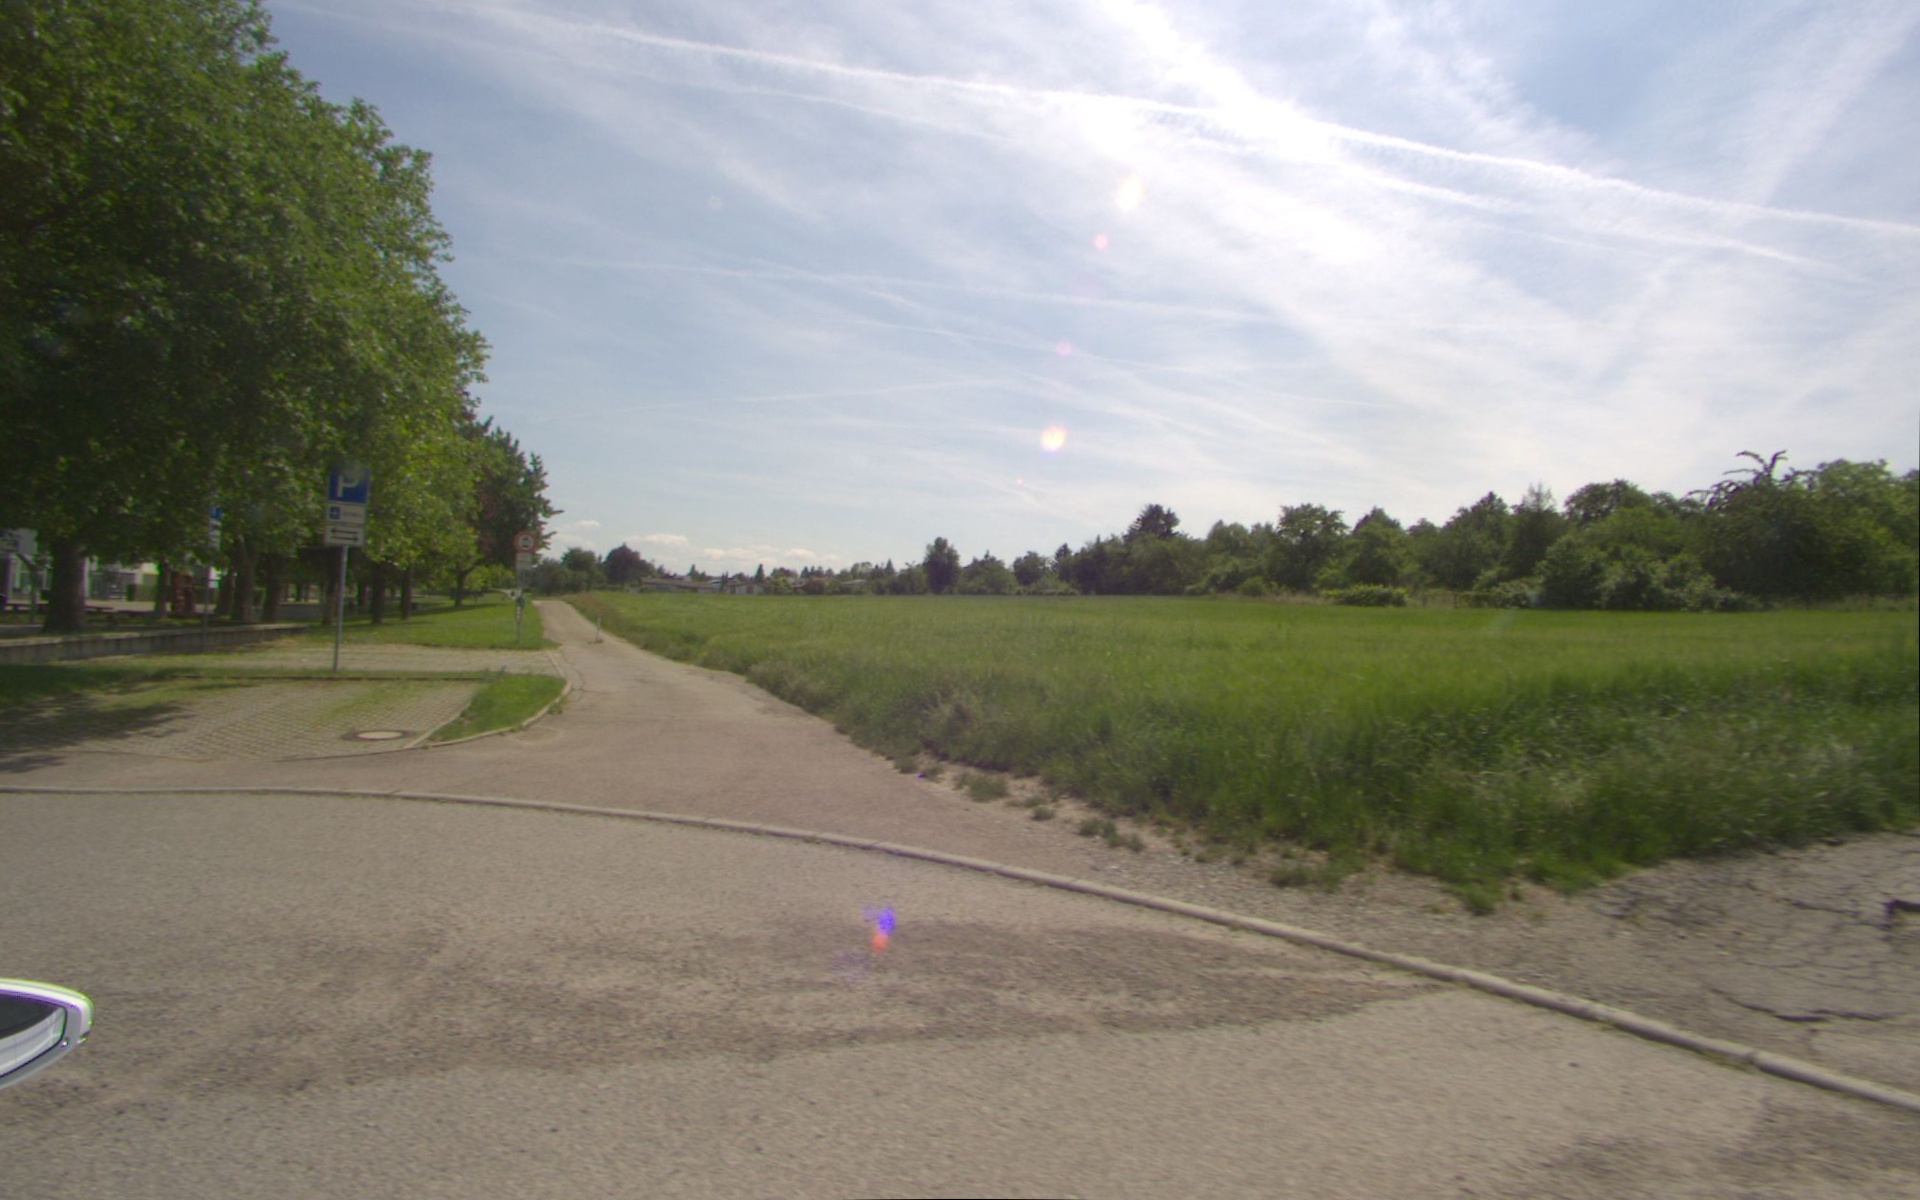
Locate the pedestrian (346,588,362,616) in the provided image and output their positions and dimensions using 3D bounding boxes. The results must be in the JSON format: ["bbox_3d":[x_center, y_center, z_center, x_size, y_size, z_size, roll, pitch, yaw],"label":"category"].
[{"bbox_3d":[-46.308,0.159,76.557,0.791,2.039,0.681,2,-1,32],"label":"pedestrian"}]

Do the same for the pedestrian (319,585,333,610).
[{"bbox_3d":[-52.187,-0.220,82.399,0.827,2.039,0.685,3,-1,-42],"label":"pedestrian"}]
